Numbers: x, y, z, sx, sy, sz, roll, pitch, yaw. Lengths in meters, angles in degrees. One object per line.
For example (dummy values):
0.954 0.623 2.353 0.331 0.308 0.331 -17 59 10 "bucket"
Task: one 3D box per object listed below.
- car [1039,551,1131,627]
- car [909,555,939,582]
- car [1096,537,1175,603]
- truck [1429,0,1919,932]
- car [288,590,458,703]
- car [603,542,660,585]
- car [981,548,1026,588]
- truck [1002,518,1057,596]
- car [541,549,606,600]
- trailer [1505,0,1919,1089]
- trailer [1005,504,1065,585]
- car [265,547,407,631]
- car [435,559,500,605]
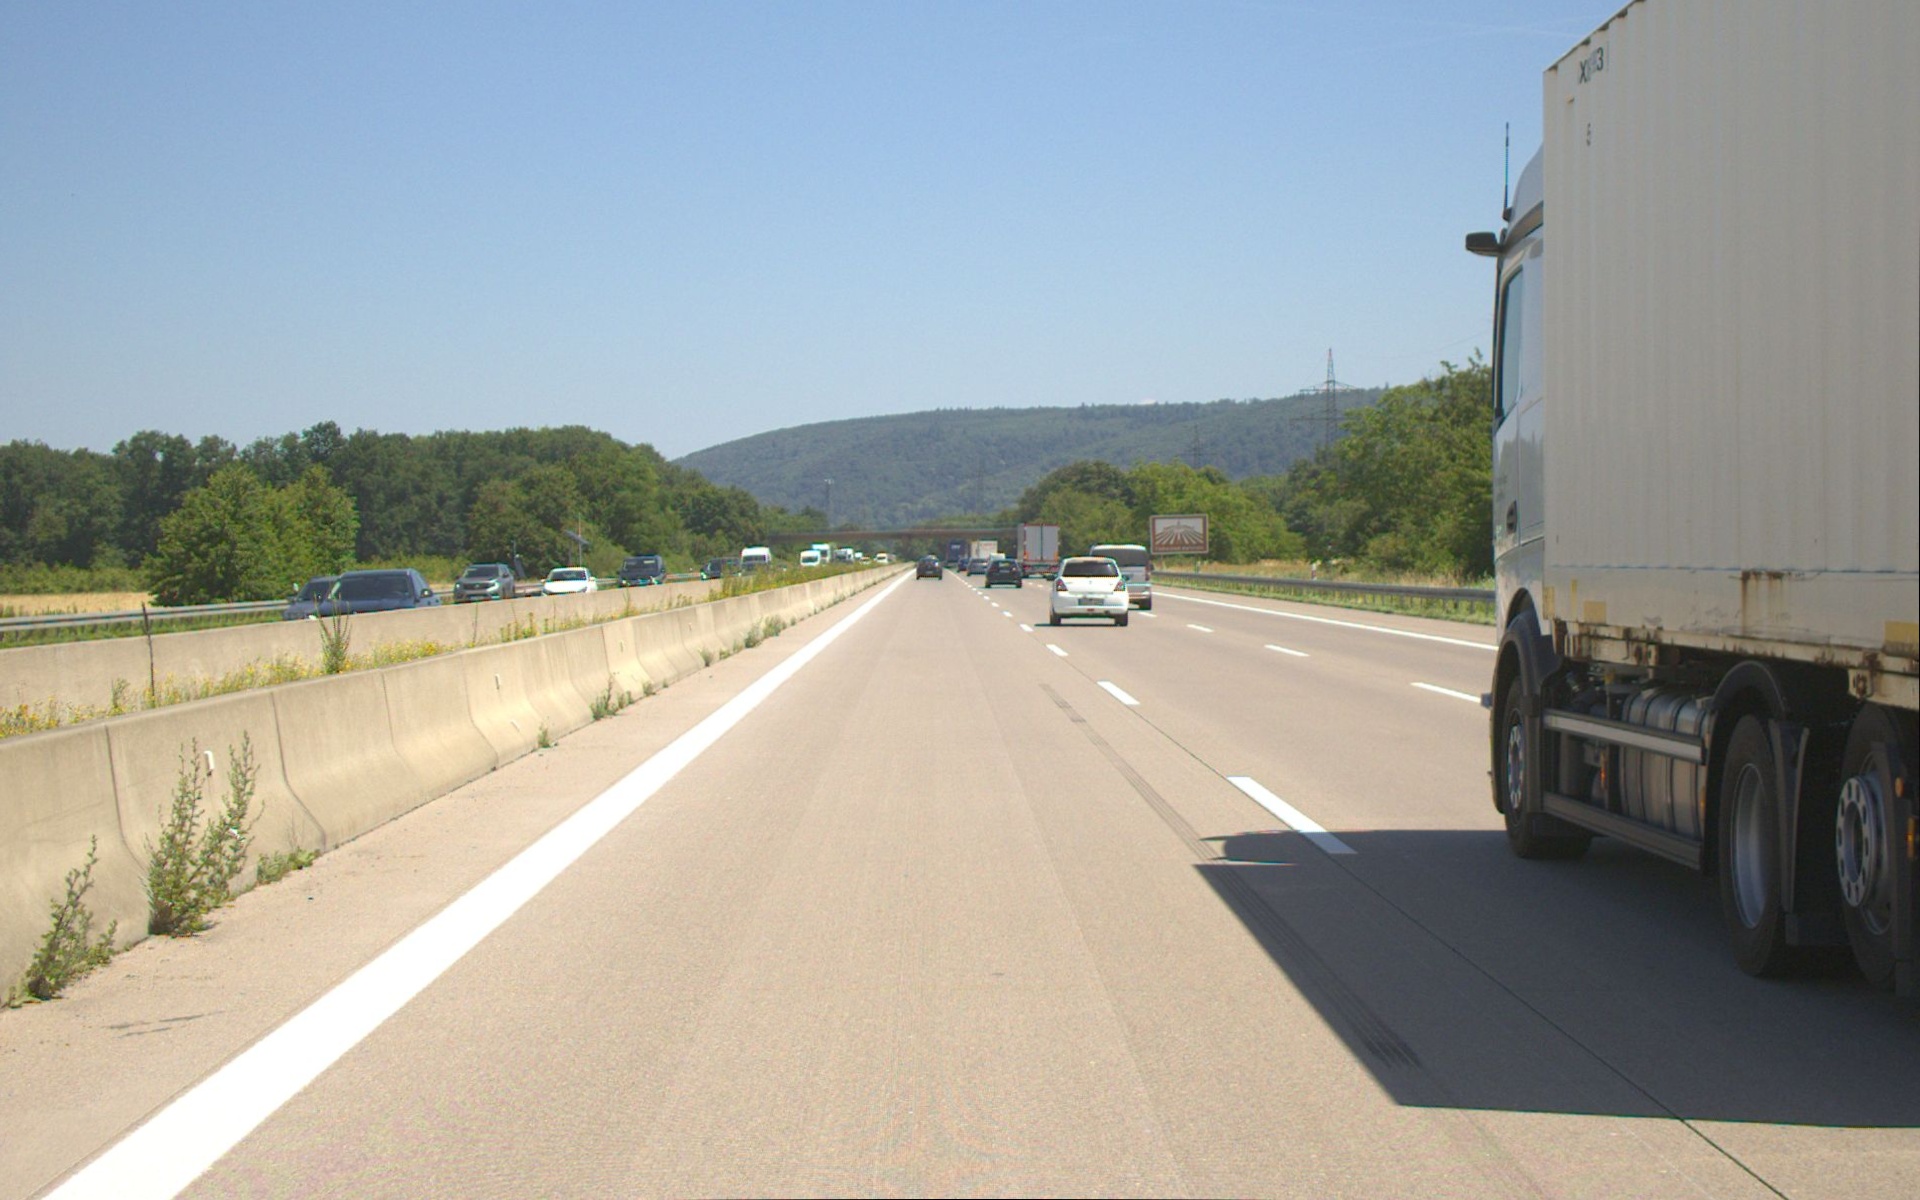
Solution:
2.774 -0.268 76.997 1.819 1.656 4.000 0 1 -1 "car"
-2.431 -2.133 231.668 1.928 1.787 4.000 1 1 -1 "car"
5.115 -0.884 100.573 1.993 1.842 4.000 1 1 -1 "car"
3.954 -0.619 16.476 2.580 3.864 4.984 1 1 -1 "truck"
-9.786 0.738 57.690 1.993 1.711 5.025 1 1 0 "car"
-14.691 -1.646 154.074 1.993 1.872 5.184 1 1 1 "car"
2.153 -1.594 170.366 1.993 1.842 4.000 2 1 -2 "car"
5.258 -3.248 260.854 3.721 5.791 7.054 1 1 -2 "truck"
-13.956 -0.914 124.390 1.993 1.711 4.613 1 -1 -2 "car"
4.029 -0.538 11.199 2.580 3.864 10.374 1 1 -1 "trailer"
5.501 -4.107 253.956 3.721 5.791 12.163 1 1 -2 "trailer"
-13.426 -0.269 74.310 1.964 1.711 5.126 1 1 2 "car"
-18.806 -0.706 131.464 1.993 1.711 4.301 1 1 -2 "car"
